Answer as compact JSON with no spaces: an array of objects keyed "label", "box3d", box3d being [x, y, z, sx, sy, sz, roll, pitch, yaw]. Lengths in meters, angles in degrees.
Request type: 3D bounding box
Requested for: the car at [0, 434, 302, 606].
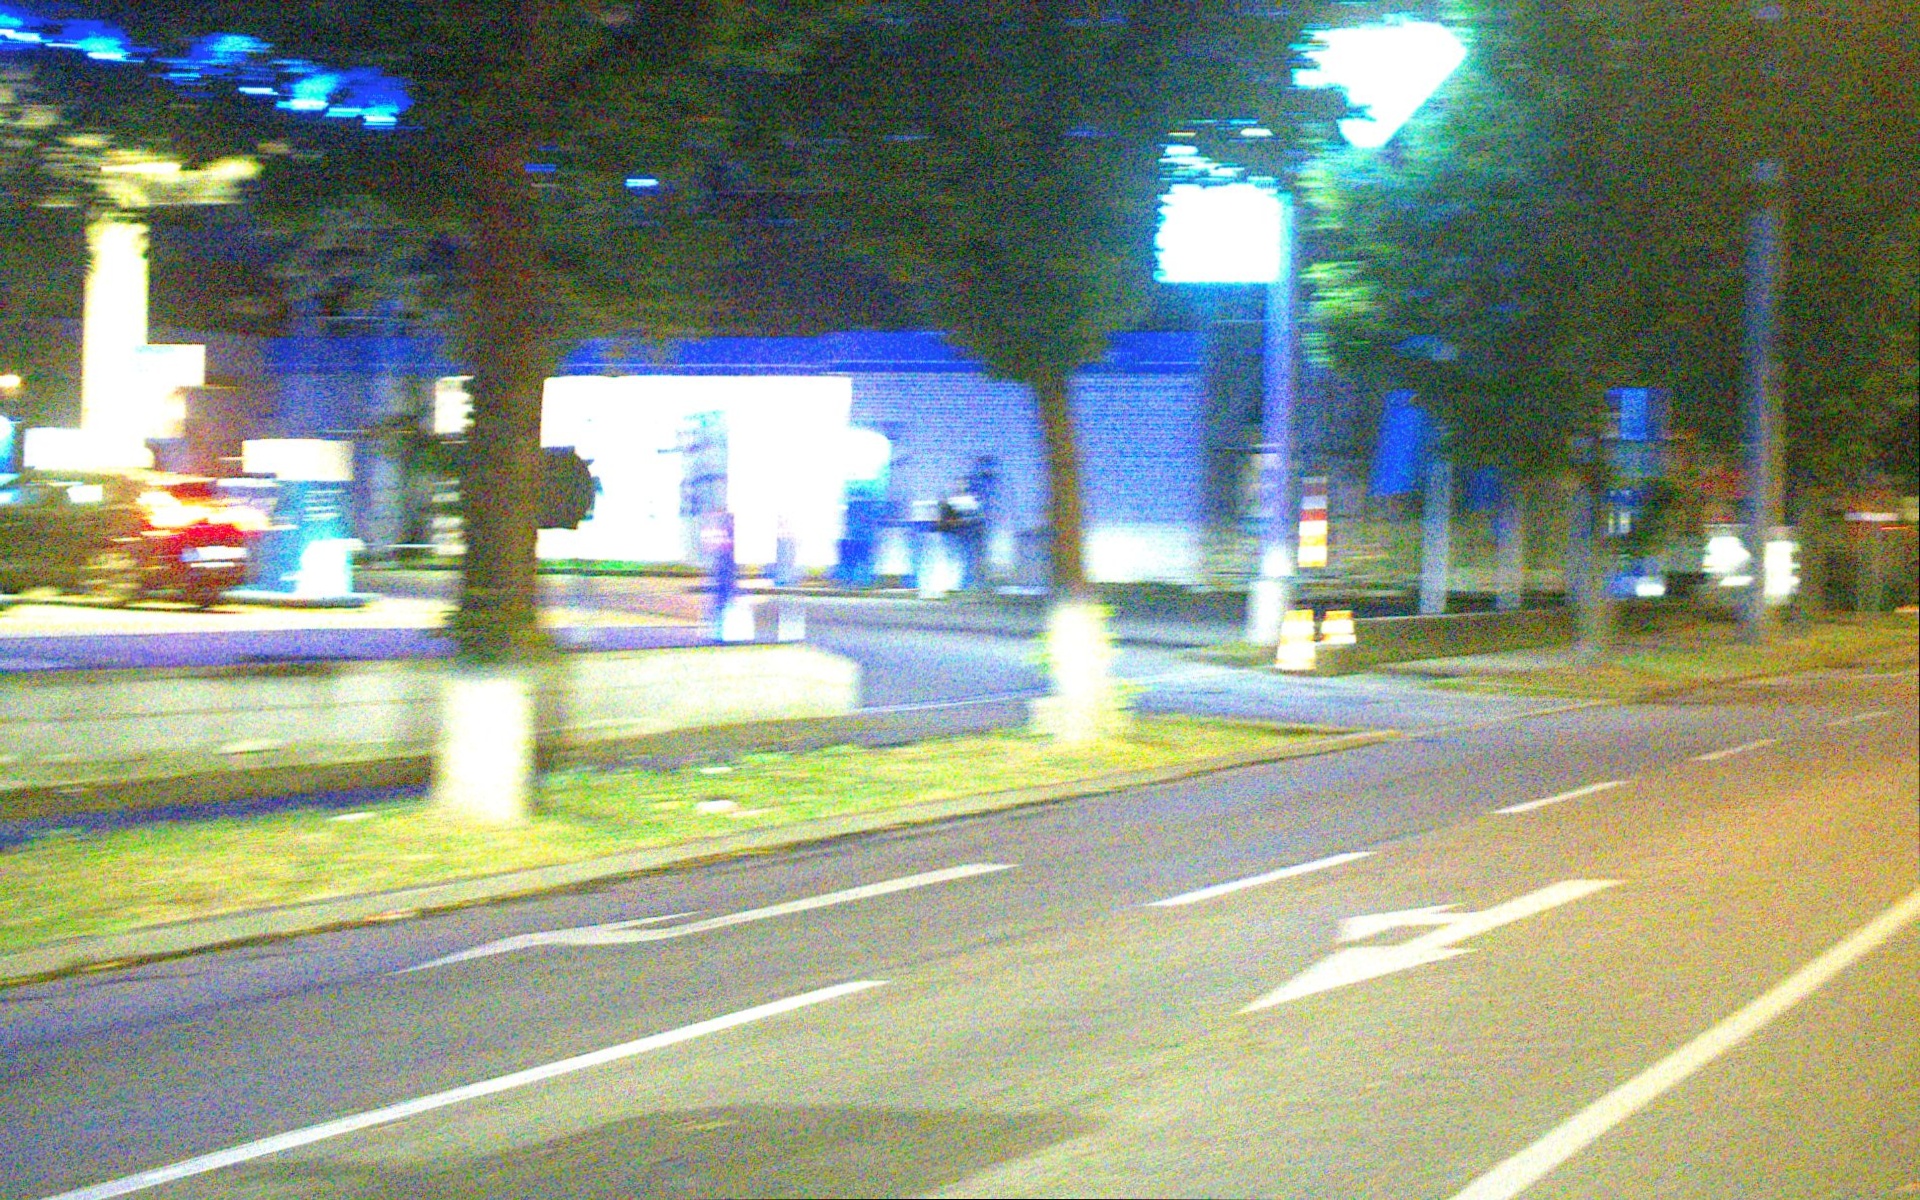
[{"label":"car","box3d":[-9.477,-0.911,37.480,3.992,1.657,1.998,4,2,21]}]
